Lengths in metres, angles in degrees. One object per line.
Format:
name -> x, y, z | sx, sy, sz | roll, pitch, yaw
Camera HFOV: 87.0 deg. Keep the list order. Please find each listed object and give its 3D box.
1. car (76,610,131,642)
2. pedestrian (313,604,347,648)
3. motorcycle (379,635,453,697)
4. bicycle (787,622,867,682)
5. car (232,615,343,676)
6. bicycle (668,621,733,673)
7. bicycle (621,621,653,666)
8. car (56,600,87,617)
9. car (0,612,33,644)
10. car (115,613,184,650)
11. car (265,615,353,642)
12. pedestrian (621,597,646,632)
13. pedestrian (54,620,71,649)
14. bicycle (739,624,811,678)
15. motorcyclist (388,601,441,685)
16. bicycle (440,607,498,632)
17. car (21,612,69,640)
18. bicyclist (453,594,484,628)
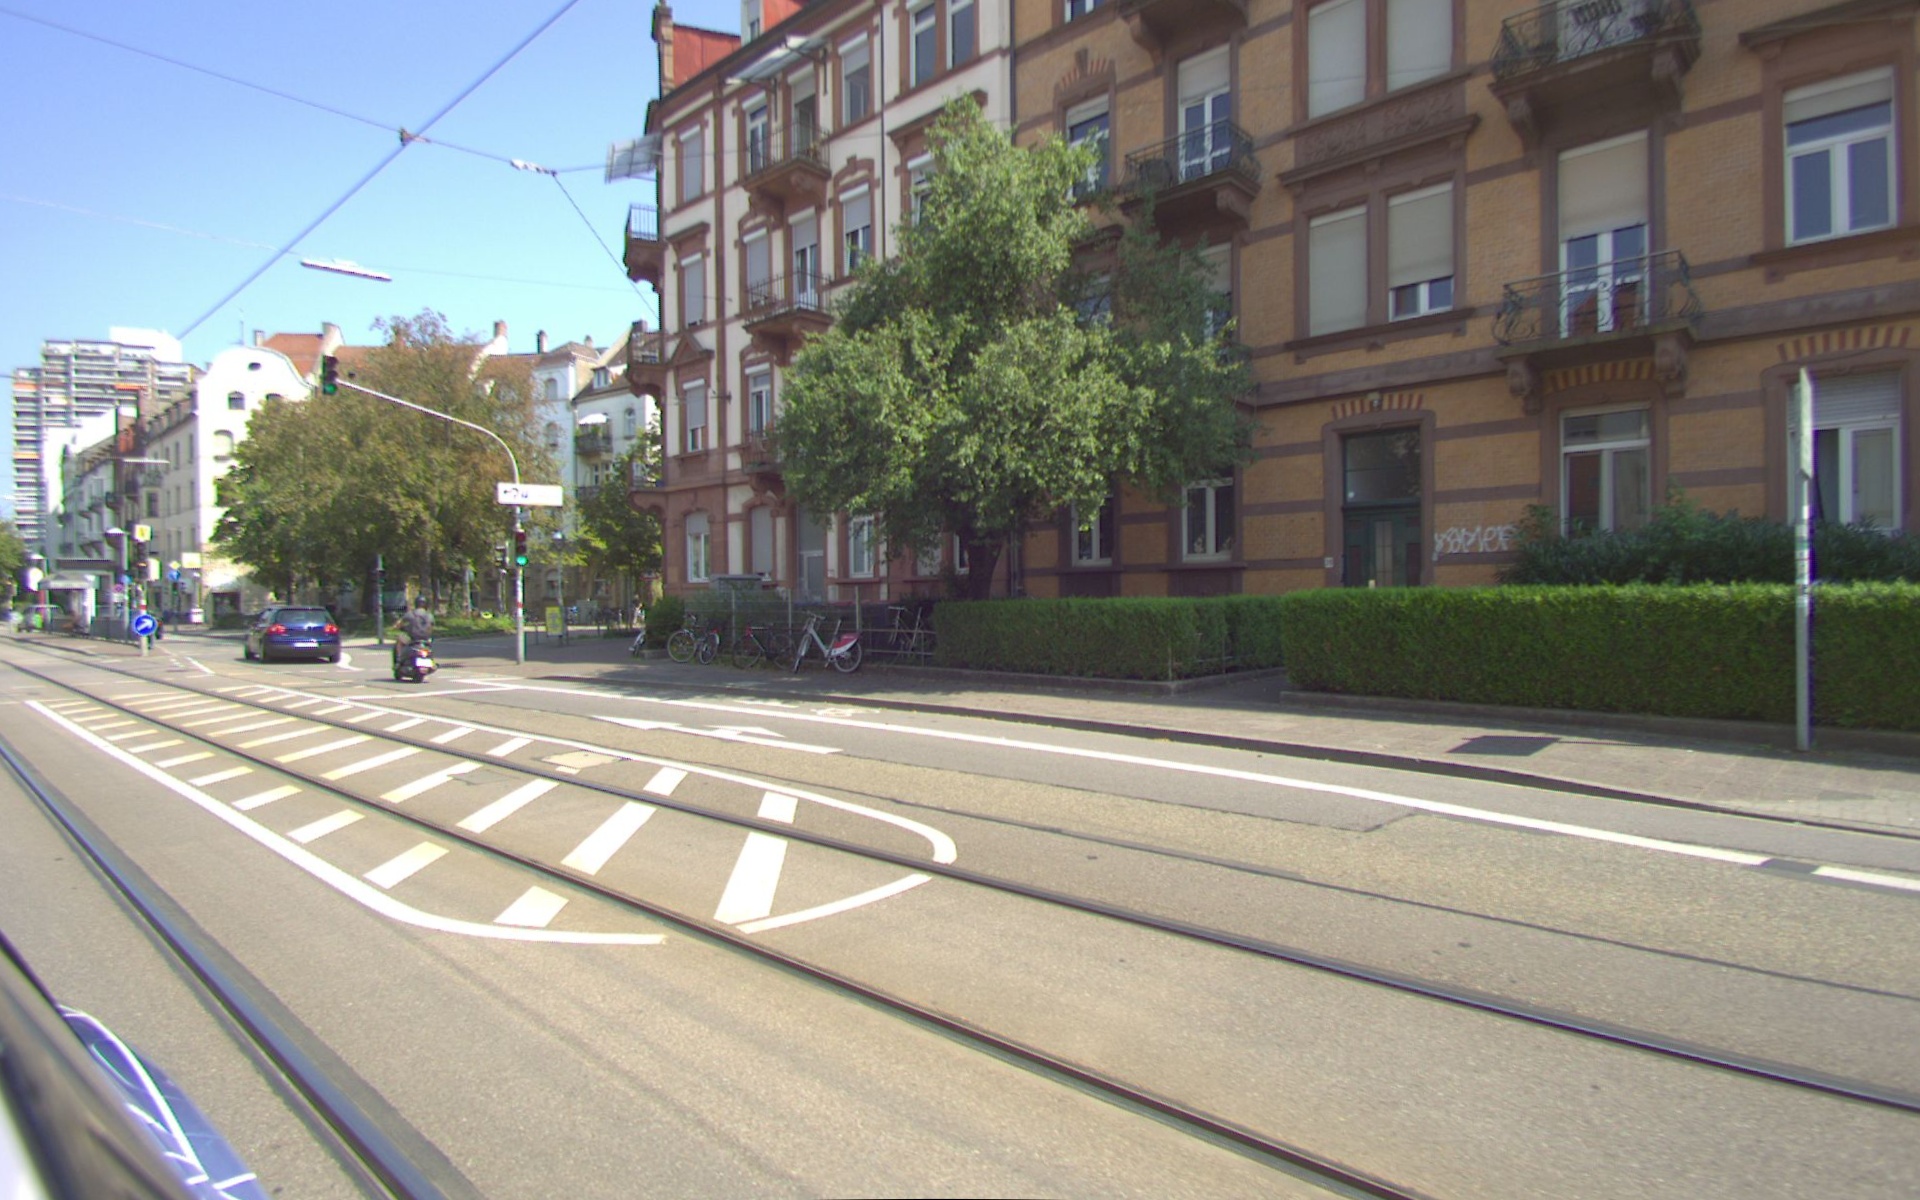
car -> -46.772, 1.378, 55.221 | 1.970, 1.660, 4.634 | 0, -1, -44
pedestrian -> -29.835, 1.204, 47.904 | 1.036, 2.028, 1.080 | 0, 2, 42
motorcycle -> -10.279, 1.214, 19.086 | 0.683, 1.039, 2.159 | -1, 0, -43
bicycle -> -2.346, 0.890, 17.717 | 0.482, 0.994, 1.658 | -1, 0, -44
car -> -17.781, 1.135, 26.691 | 1.707, 1.444, 4.180 | 1, -1, -44
bicycle -> -5.437, 0.969, 21.154 | 0.482, 1.029, 1.779 | -1, 0, -44
bicycle -> -7.824, 1.047, 24.581 | 0.481, 1.005, 1.834 | -1, 0, -10
car -> -89.635, 0.865, 102.098 | 4.631, 1.739, 1.971 | -1, -1, 43
car -> -54.740, 1.587, 58.075 | 4.632, 1.739, 1.971 | -1, -1, 44
car -> -38.040, 1.446, 47.457 | 4.632, 1.660, 1.971 | -1, -1, 44
car -> -43.656, 1.869, 67.944 | 4.561, 1.739, 2.002 | 0, -1, -3
pedestrian -> -19.309, 0.841, 59.837 | 1.021, 2.028, 1.096 | -3, 2, -42
pedestrian -> -38.844, 1.481, 43.787 | 0.648, 1.260, 0.473 | -1, 0, 44
bicycle -> -3.494, 0.945, 19.005 | 0.482, 0.949, 1.658 | -1, 0, -44
motorcyclist -> -10.291, 0.797, 19.090 | 0.681, 1.523, 0.773 | -1, 0, -44
bicycle -> -30.043, 1.186, 61.908 | 3.462, 1.447, 1.214 | -1, 0, 23
car -> -59.591, 1.665, 65.887 | 4.631, 1.739, 1.972 | -1, -1, 43
bicyclist -> -30.073, 0.639, 61.901 | 1.203, 2.029, 1.201 | 0, 1, 21
